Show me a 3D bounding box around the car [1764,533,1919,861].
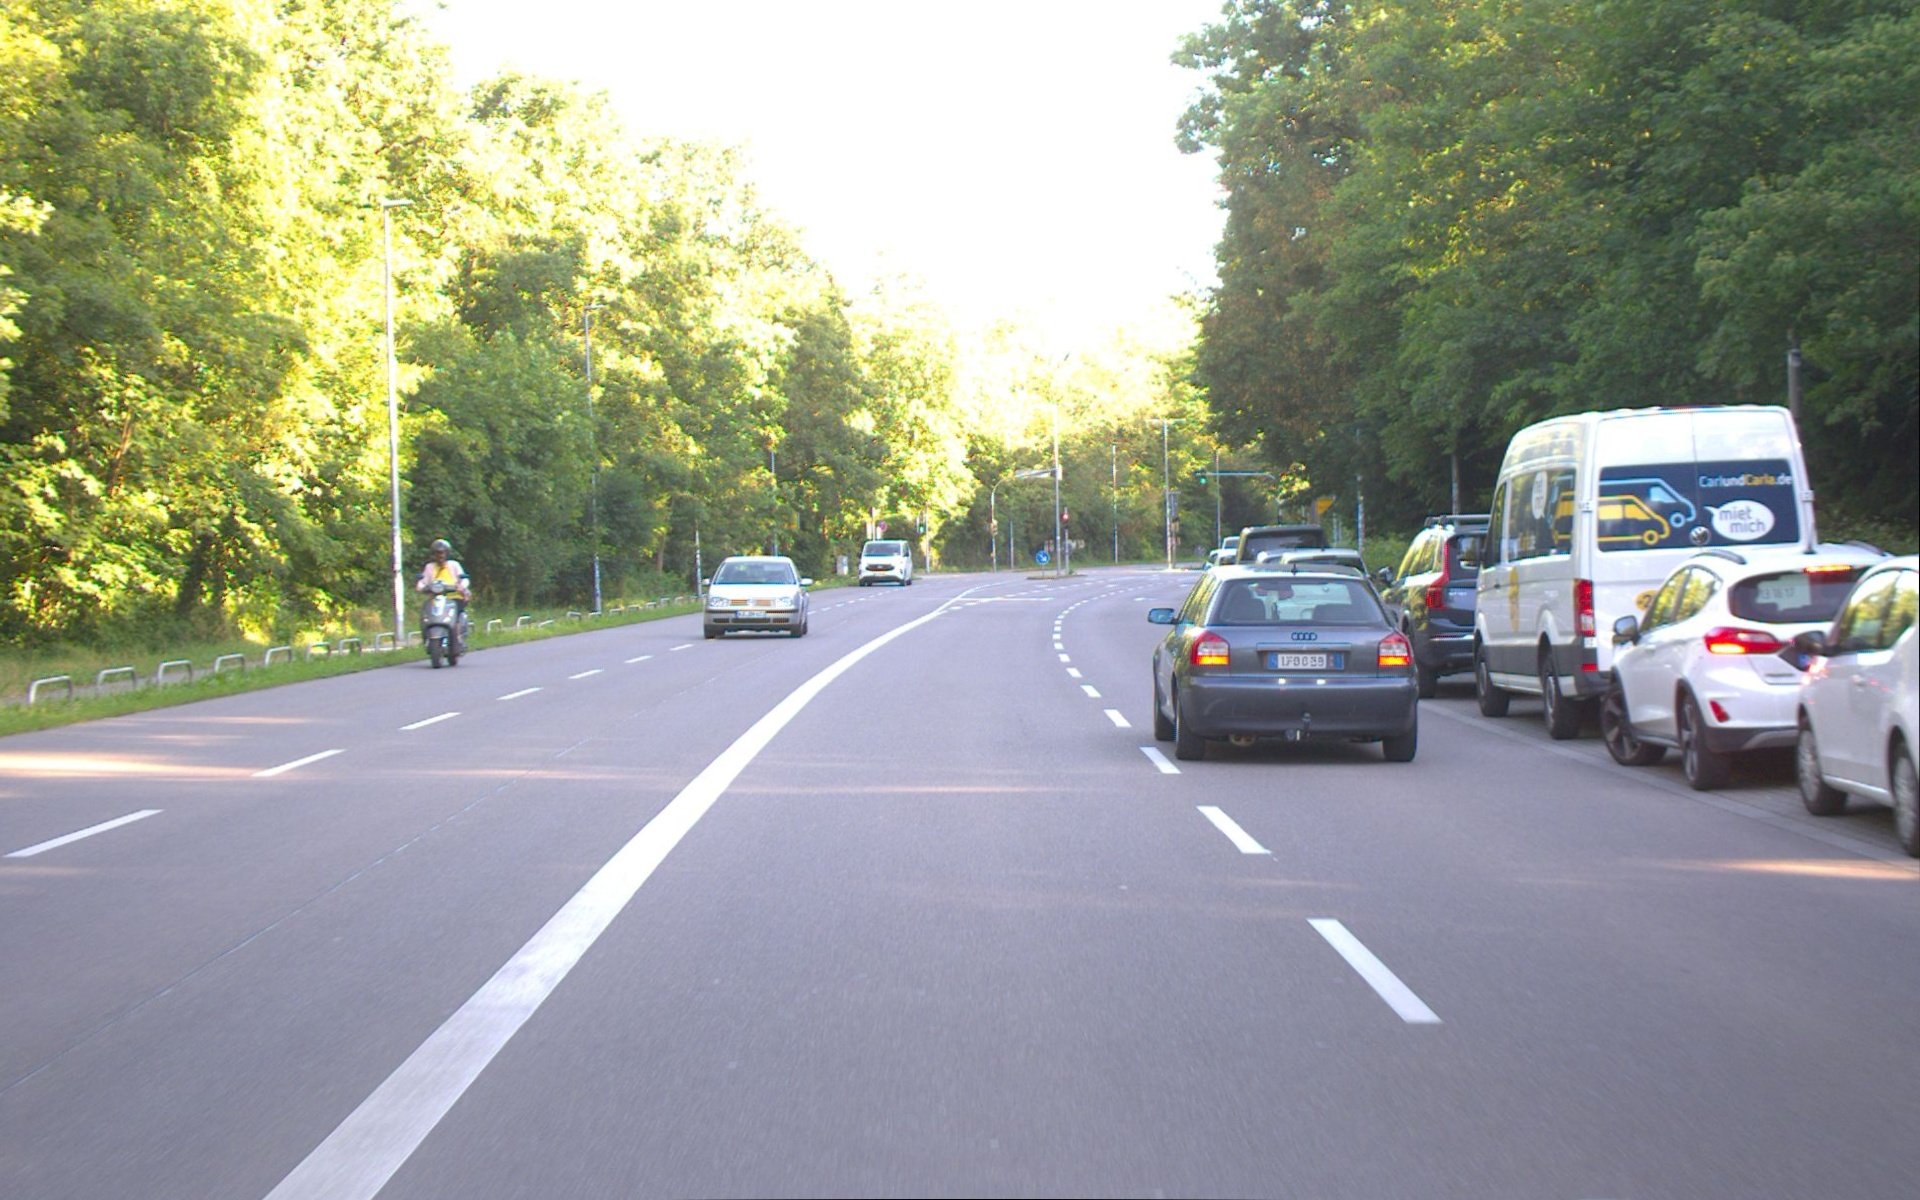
[{"bbox_3d":[5.432,0.397,17.912,1.723,1.491,3.774,-3,1,3],"label":"car"}]

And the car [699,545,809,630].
[{"bbox_3d":[-3.596,-0.242,60.562,1.681,1.402,3.890,-1,1,0],"label":"car"}]

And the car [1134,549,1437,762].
[{"bbox_3d":[2.315,0.347,25.388,1.727,1.436,4.090,0,1,-2],"label":"car"}]

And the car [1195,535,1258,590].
[{"bbox_3d":[7.936,-1.099,102.210,1.728,1.517,4.089,-3,0,5],"label":"car"}]

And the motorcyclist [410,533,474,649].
[{"bbox_3d":[-6.805,-0.123,45.187,0.724,1.500,0.672,-1,0,0],"label":"motorcyclist"}]

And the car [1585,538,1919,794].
[{"bbox_3d":[5.324,0.362,22.673,1.723,1.491,4.145,-1,1,2],"label":"car"}]

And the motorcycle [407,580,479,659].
[{"bbox_3d":[-6.797,0.245,45.244,0.636,0.992,2.077,0,1,0],"label":"motorcycle"}]

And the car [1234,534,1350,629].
[{"bbox_3d":[5.729,-0.350,59.653,1.728,1.538,4.217,-1,1,2],"label":"car"}]

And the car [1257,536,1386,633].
[{"bbox_3d":[5.674,-0.268,54.288,1.728,1.436,4.100,-1,1,2],"label":"car"}]

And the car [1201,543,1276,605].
[{"bbox_3d":[7.080,-0.680,87.709,1.728,1.436,4.666,-3,1,3],"label":"car"}]

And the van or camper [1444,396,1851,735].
[{"bbox_3d":[5.618,-0.316,28.970,2.119,2.509,5.980,-1,1,-1],"label":"van or camper"}]

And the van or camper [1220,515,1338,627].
[{"bbox_3d":[6.016,-0.574,65.392,1.893,1.942,5.133,-3,1,3],"label":"van or camper"}]

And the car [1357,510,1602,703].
[{"bbox_3d":[5.392,0.020,36.298,1.829,1.861,5.074,-1,1,1],"label":"car"}]

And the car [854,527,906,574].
[{"bbox_3d":[-3.459,-2.138,148.619,1.993,1.985,4.997,-1,1,1],"label":"car"}]
